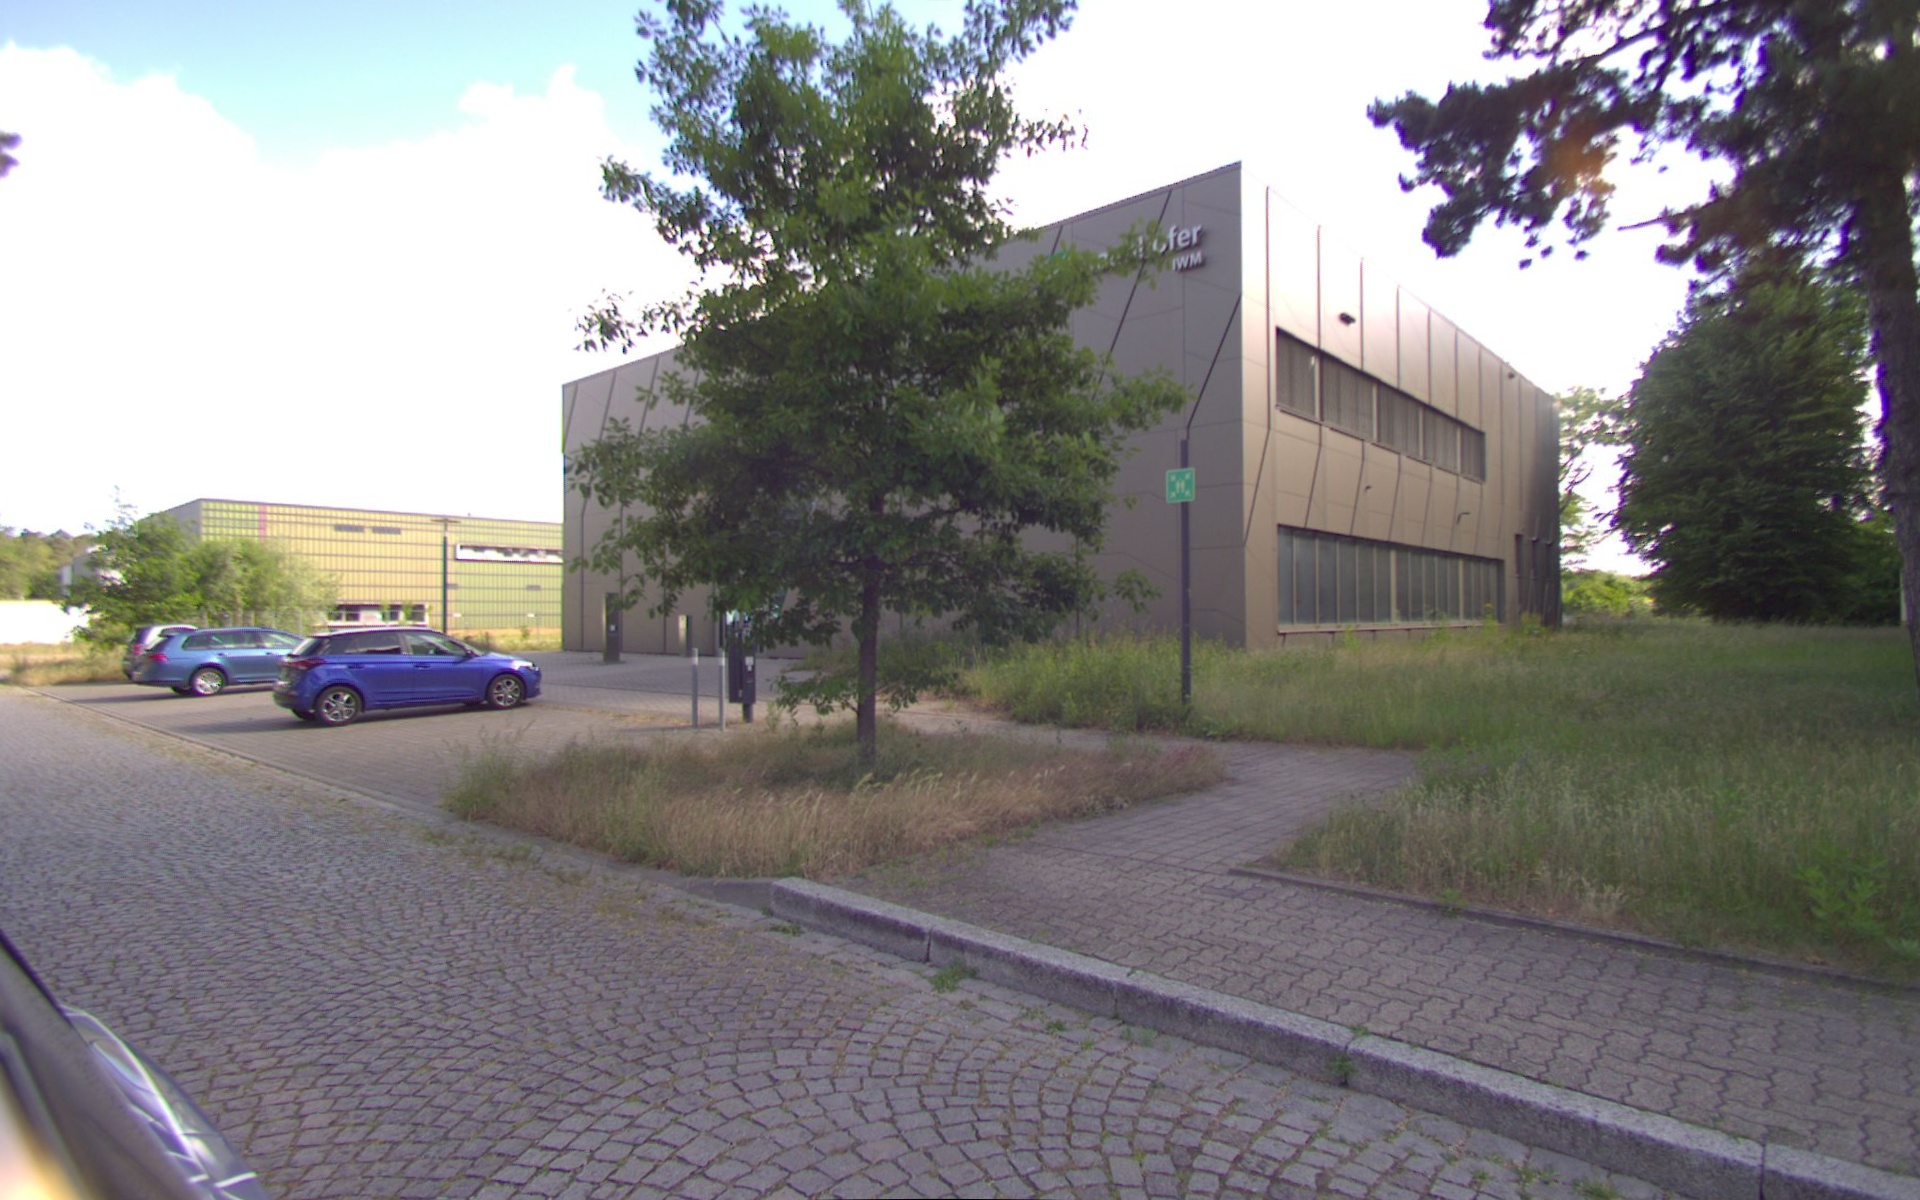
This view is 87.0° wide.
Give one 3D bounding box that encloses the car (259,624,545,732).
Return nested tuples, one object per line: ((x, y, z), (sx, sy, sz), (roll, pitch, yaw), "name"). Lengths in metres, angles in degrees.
((-9.271, 1.208, 17.024), (1.735, 1.479, 3.865), (-2, 0, 44), "car")

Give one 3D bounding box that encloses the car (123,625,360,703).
((-16.383, 1.395, 23.249), (1.733, 1.485, 4.127), (-2, 0, 39), "car")

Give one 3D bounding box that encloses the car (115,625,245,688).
((-21.782, 1.546, 28.294), (1.480, 1.580, 2.619), (-2, 0, 40), "car")
